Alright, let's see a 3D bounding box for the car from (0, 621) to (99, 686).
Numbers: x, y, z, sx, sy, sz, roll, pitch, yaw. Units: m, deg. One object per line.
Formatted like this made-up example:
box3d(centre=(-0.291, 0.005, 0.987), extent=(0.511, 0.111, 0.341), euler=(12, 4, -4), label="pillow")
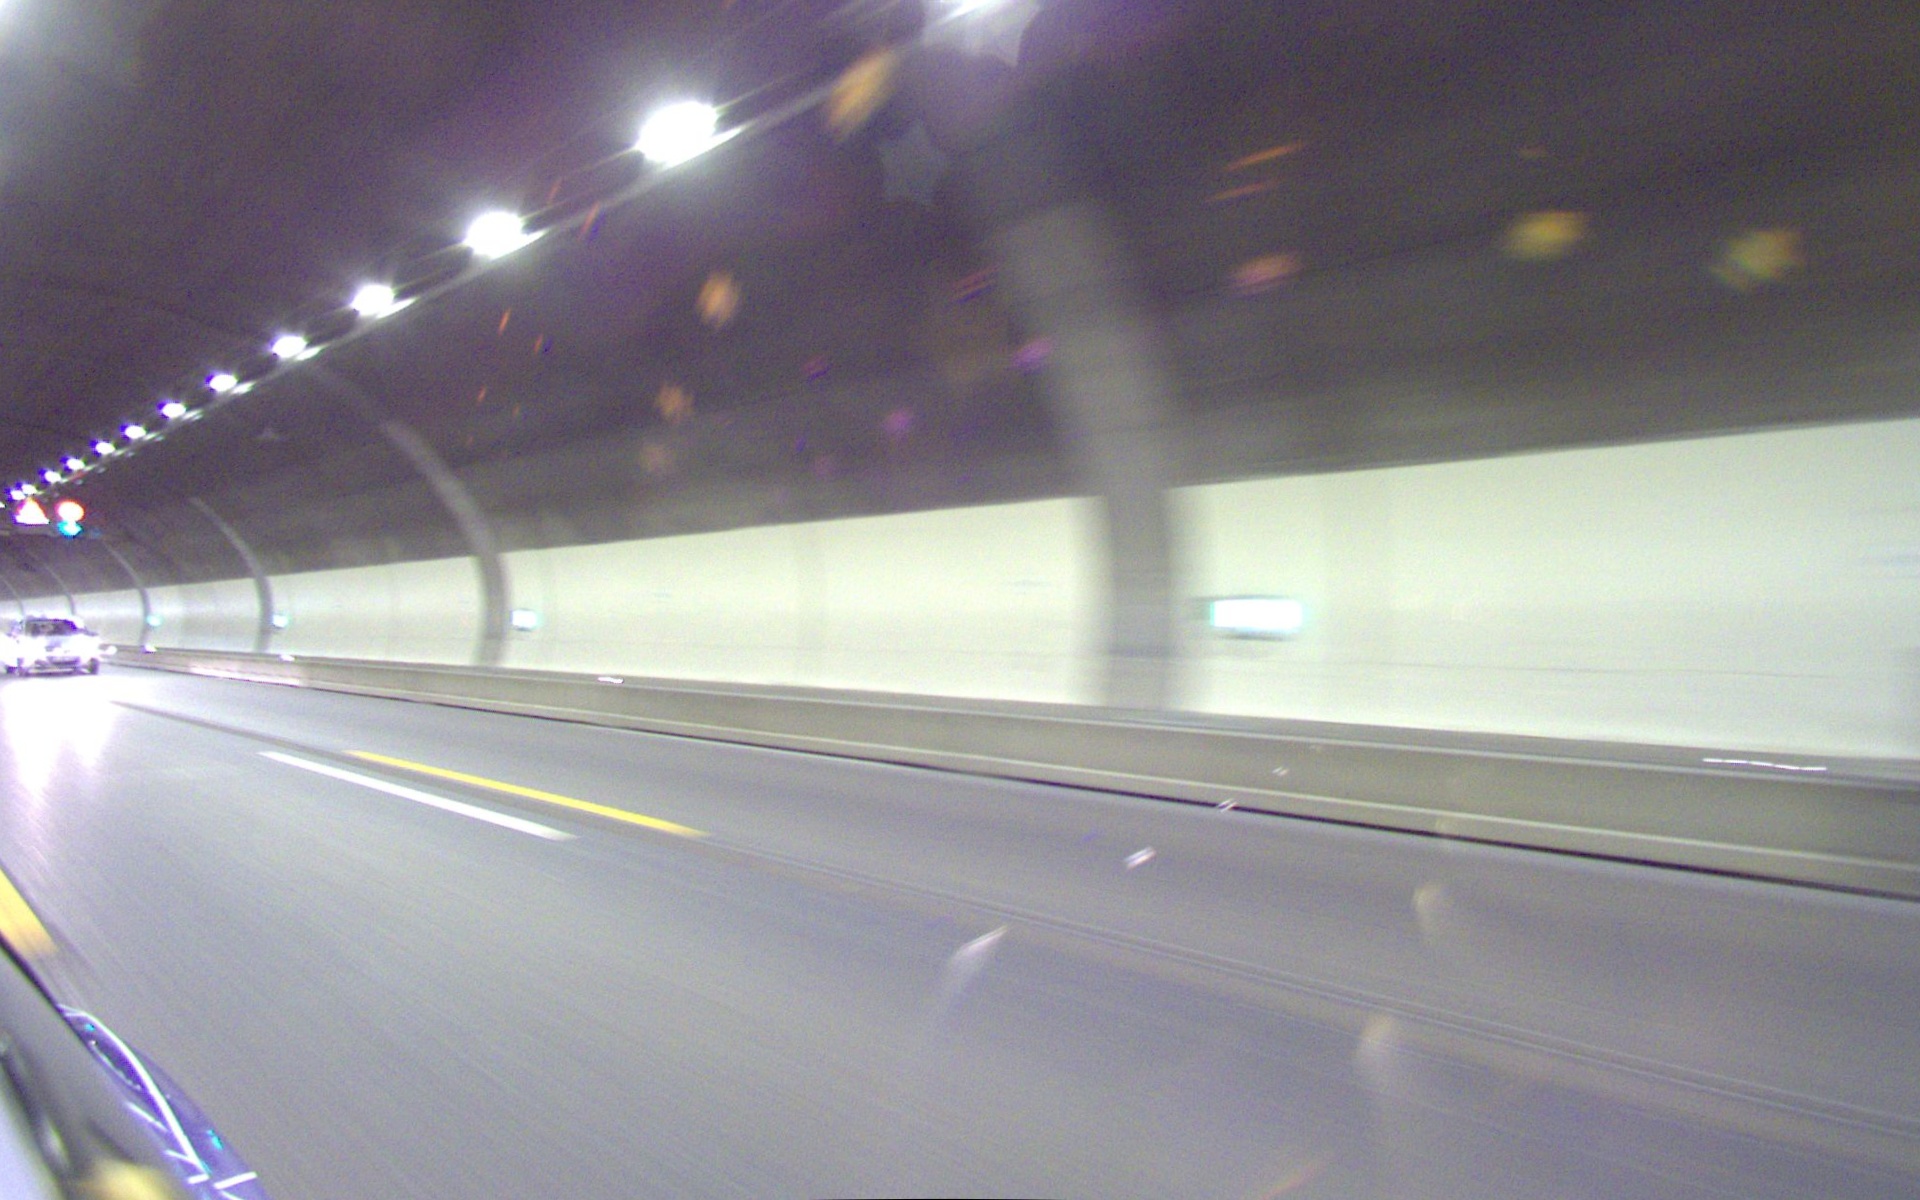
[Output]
box3d(centre=(-24.815, 1.383, 27.390), extent=(4.096, 1.584, 1.743), euler=(-1, -1, 41), label="car")
